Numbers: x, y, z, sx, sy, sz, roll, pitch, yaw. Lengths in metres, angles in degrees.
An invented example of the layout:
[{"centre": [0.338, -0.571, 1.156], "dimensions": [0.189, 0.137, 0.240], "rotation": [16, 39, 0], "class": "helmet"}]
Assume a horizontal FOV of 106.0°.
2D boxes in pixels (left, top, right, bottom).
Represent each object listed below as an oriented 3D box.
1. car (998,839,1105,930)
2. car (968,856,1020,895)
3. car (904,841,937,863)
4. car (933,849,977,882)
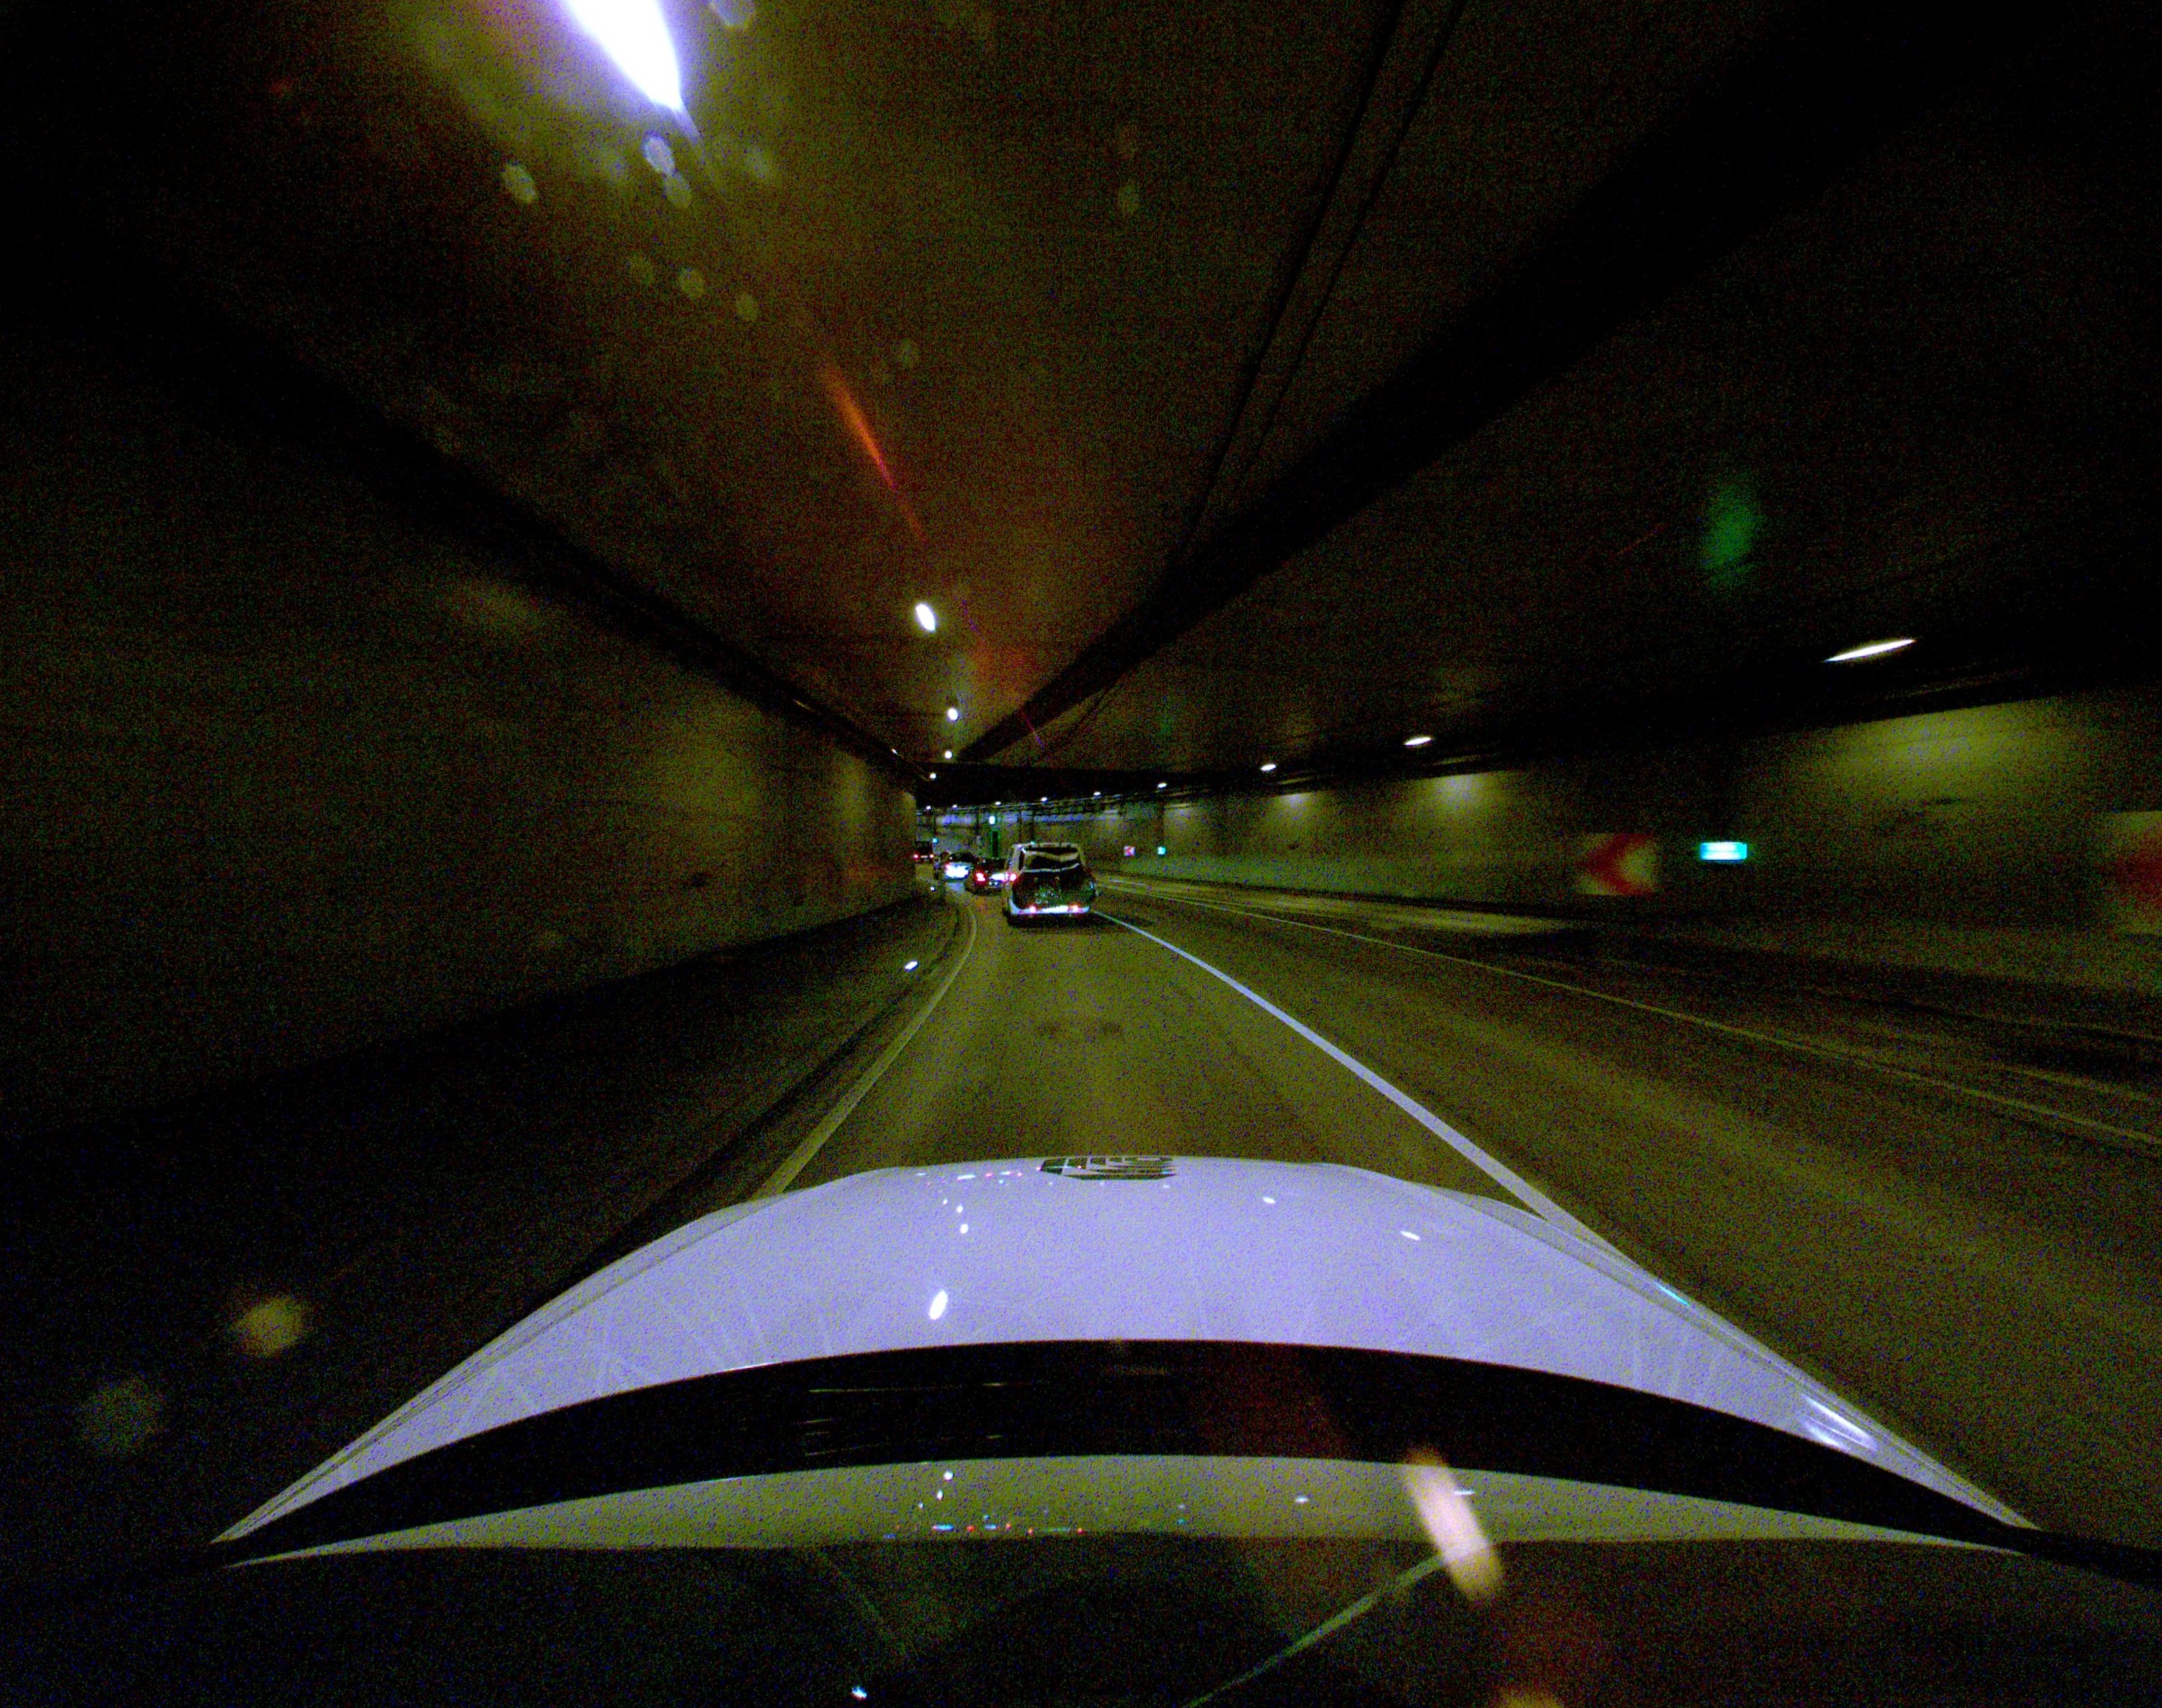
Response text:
[{"centre": [-0.878, 0.647, 19.682], "dimensions": [1.993, 1.847, 5.286], "rotation": [-1, 0, -8], "class": "car"}, {"centre": [-3.480, 0.817, 32.203], "dimensions": [1.605, 1.395, 3.262], "rotation": [-1, 0, -14], "class": "car"}, {"centre": [-12.414, -0.168, 62.936], "dimensions": [1.612, 1.630, 3.326], "rotation": [-1, 0, -27], "class": "car"}, {"centre": [-6.433, 0.569, 41.373], "dimensions": [1.608, 1.594, 3.333], "rotation": [2, -1, -19], "class": "car"}]
